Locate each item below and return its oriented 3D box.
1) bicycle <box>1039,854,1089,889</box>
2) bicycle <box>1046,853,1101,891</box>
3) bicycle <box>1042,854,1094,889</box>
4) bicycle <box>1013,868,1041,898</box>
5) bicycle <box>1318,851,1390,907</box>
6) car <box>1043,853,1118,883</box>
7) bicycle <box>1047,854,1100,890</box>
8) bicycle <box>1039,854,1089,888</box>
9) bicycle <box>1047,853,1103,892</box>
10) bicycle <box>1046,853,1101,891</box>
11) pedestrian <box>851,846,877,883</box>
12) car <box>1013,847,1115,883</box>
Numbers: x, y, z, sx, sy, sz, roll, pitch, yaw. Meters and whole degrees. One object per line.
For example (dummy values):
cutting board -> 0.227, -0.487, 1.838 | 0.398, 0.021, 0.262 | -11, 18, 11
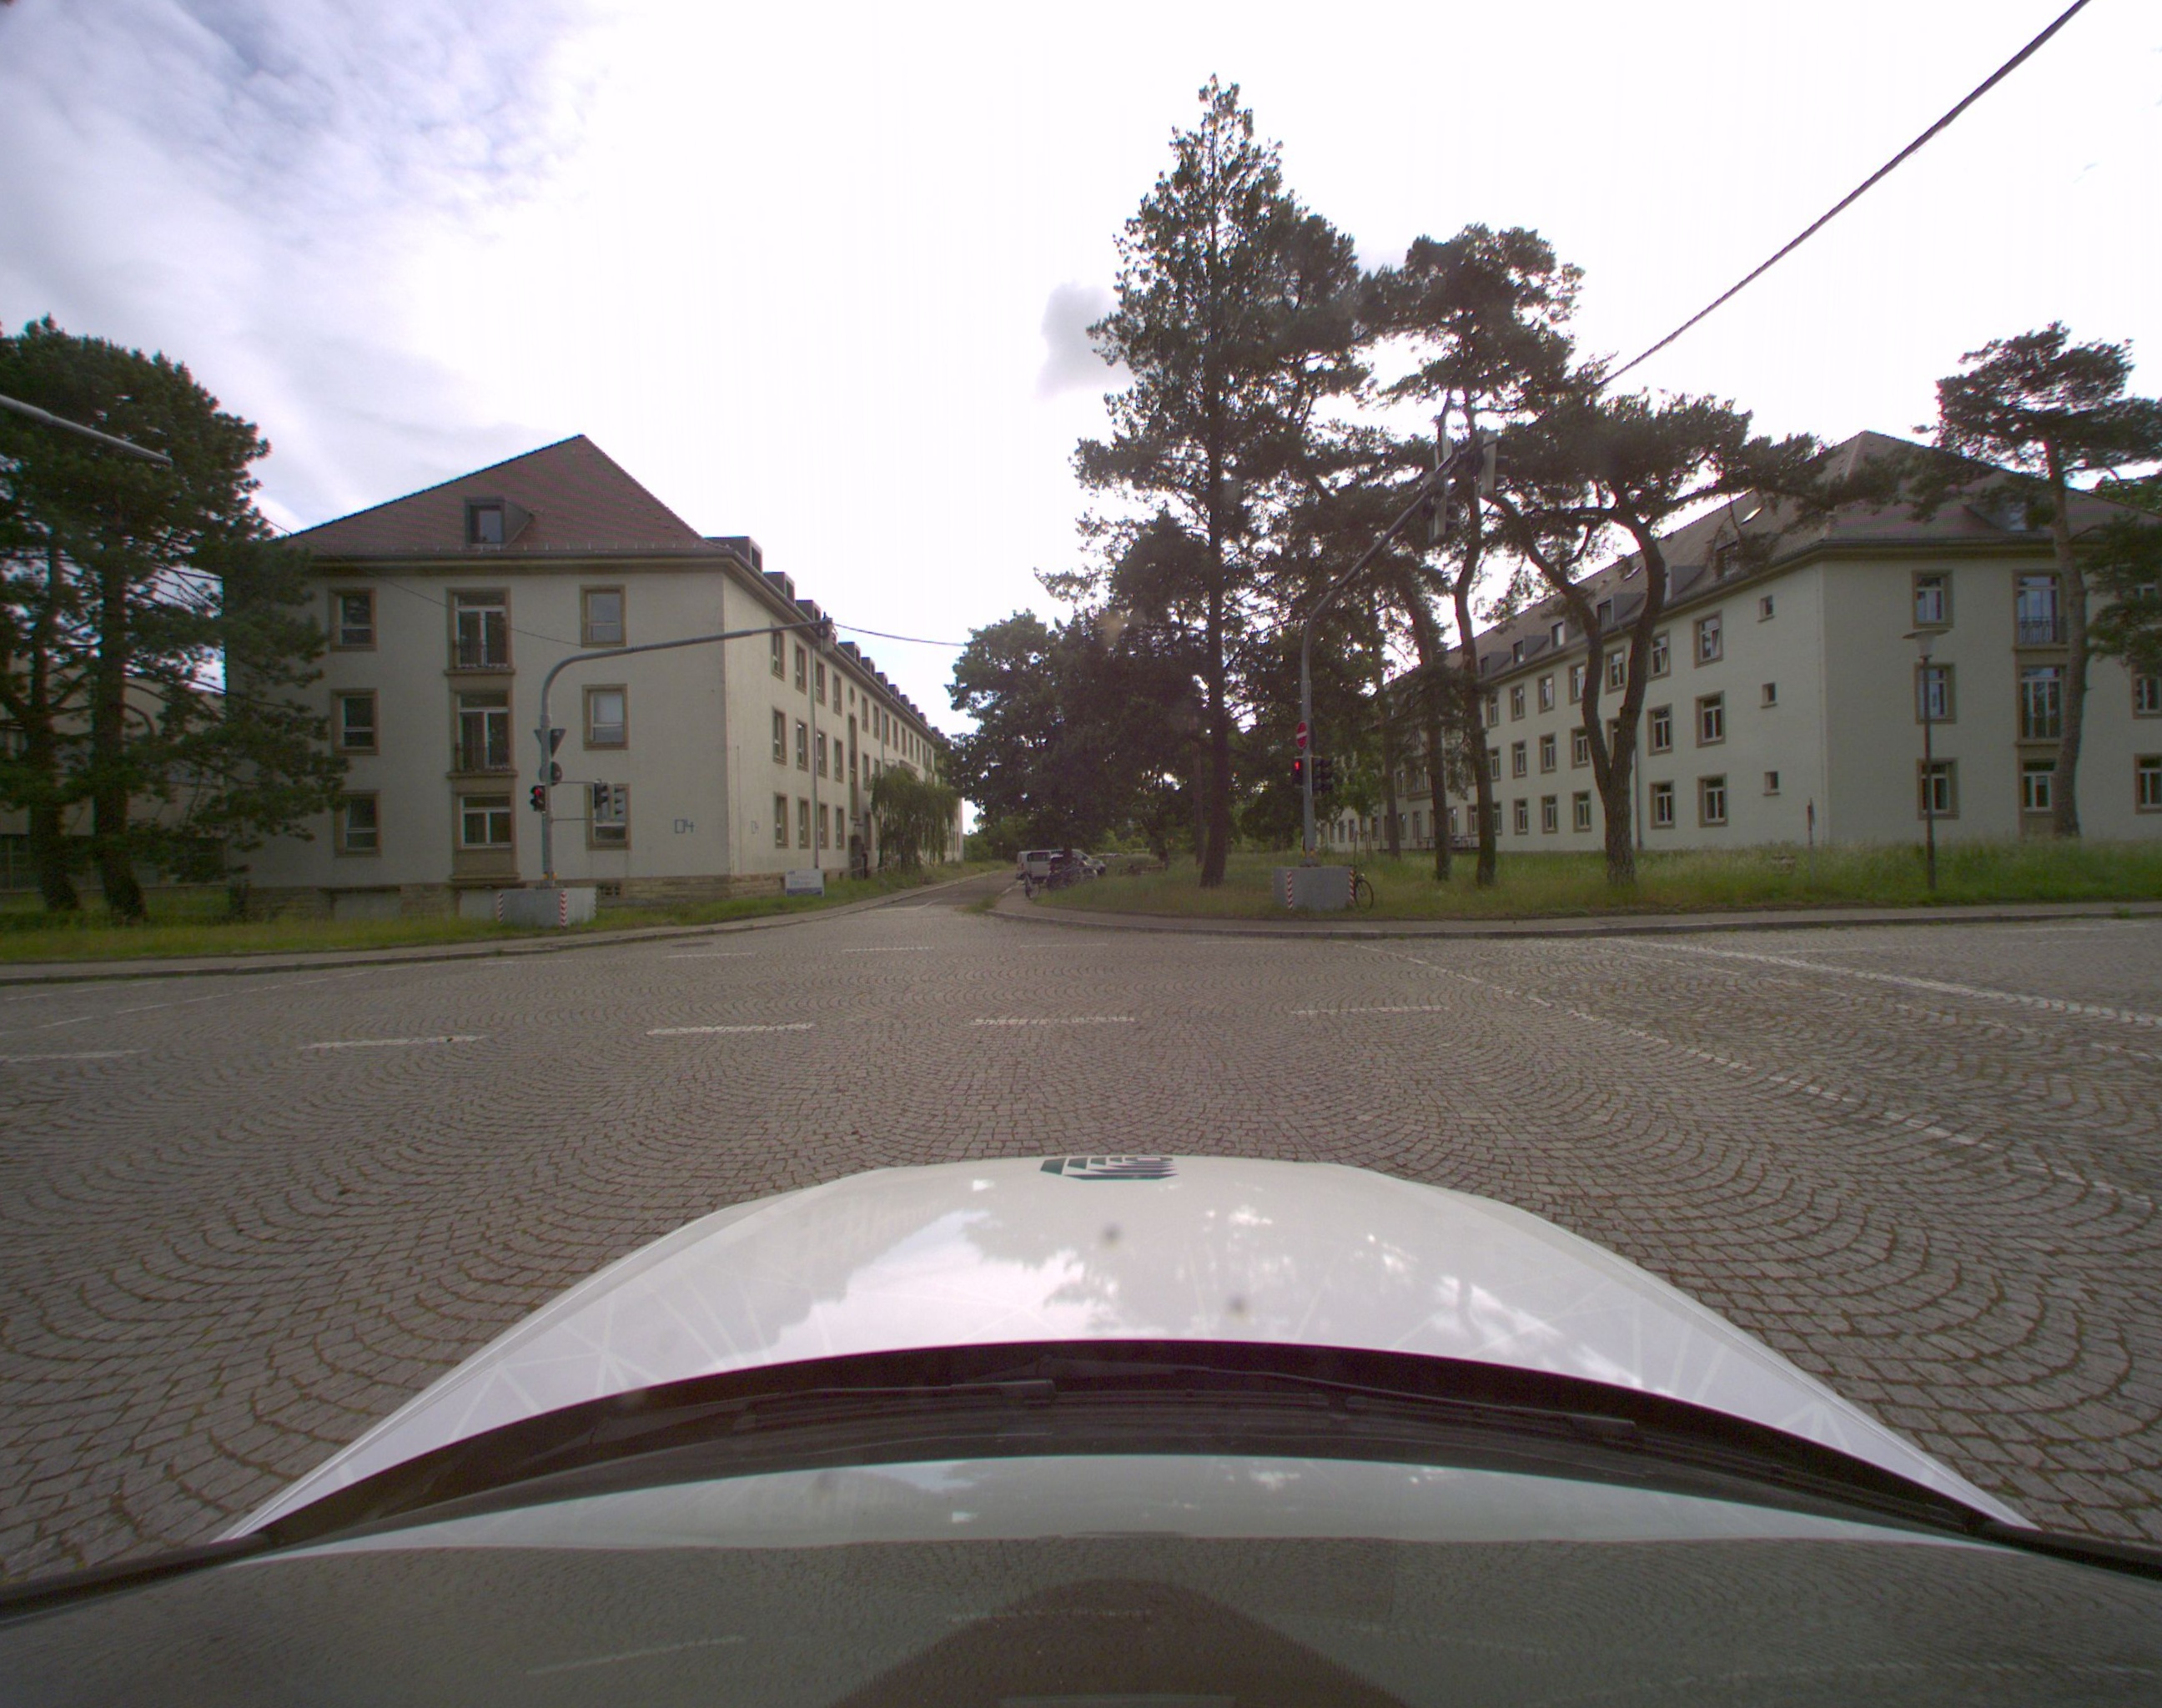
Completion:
bicycle -> -0.704, 0.710, 33.965 | 2.063, 1.378, 0.620 | -2, 0, -1
bicycle -> -0.277, 0.691, 31.019 | 2.063, 1.378, 0.620 | -2, 0, -1
bicycle -> -0.540, 0.705, 33.232 | 2.063, 1.378, 0.620 | -2, 0, -1
bicycle -> -1.871, 1.003, 28.507 | 0.615, 0.963, 2.080 | -2, 0, 6
bicycle -> 6.073, 0.532, 18.255 | 0.906, 1.177, 1.873 | -2, 0, -2
car -> -0.061, 0.758, 44.873 | 3.927, 1.544, 1.996 | -2, 0, -6
bicycle -> -0.299, 0.701, 32.440 | 2.063, 1.378, 0.620 | -2, 0, -1
bicycle -> -0.704, 0.717, 34.713 | 2.063, 1.378, 0.620 | -2, 0, -1
bicycle -> -0.221, 0.686, 30.350 | 2.063, 1.378, 0.620 | -2, 0, -1
bicycle -> -0.292, 0.695, 31.644 | 2.063, 1.378, 0.620 | -2, 0, -1
pedestrian -> -12.119, 0.592, 45.482 | 1.082, 2.013, 1.023 | -2, 0, 4
car -> -1.019, 0.637, 48.217 | 5.699, 1.910, 2.220 | -2, 0, -14
